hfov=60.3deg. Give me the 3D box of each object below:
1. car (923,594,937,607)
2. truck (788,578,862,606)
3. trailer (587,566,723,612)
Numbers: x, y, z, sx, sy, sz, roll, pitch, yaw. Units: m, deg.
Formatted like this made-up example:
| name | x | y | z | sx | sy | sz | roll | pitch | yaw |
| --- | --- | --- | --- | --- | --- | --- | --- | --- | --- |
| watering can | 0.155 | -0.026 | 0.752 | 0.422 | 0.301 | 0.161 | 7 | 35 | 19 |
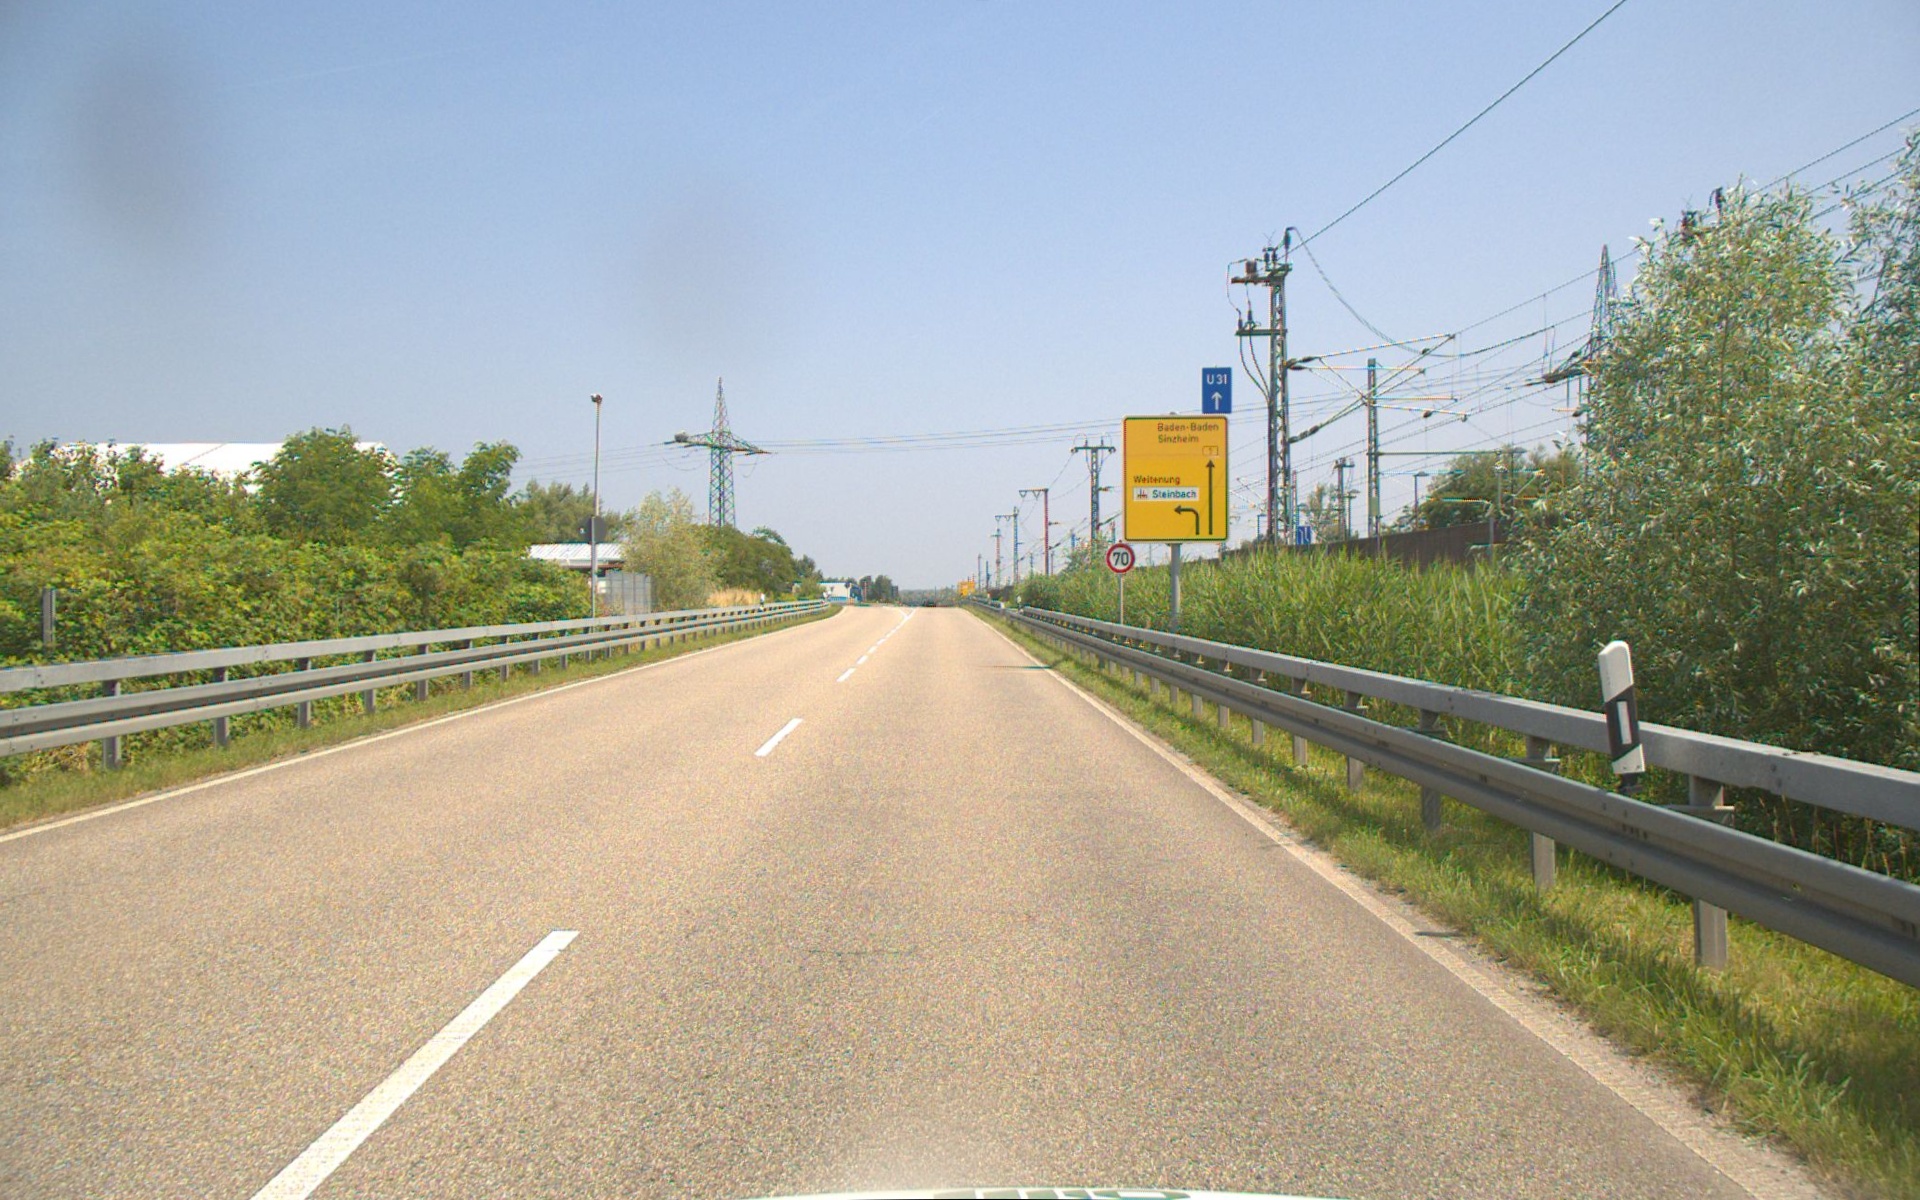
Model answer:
| name | x | y | z | sx | sy | sz | roll | pitch | yaw |
| --- | --- | --- | --- | --- | --- | --- | --- | --- | --- |
| car | -4.584 | 0.082 | 253.667 | 1.954 | 2.049 | 3.996 | 1 | 0 | -5 |
| truck | -19.030 | -1.117 | 233.785 | 10.205 | 3.695 | 2.843 | 1 | 0 | -3 |
| trailer | -12.769 | -0.458 | 69.604 | 5.277 | 1.881 | 2.543 | 1 | 0 | -2 |
